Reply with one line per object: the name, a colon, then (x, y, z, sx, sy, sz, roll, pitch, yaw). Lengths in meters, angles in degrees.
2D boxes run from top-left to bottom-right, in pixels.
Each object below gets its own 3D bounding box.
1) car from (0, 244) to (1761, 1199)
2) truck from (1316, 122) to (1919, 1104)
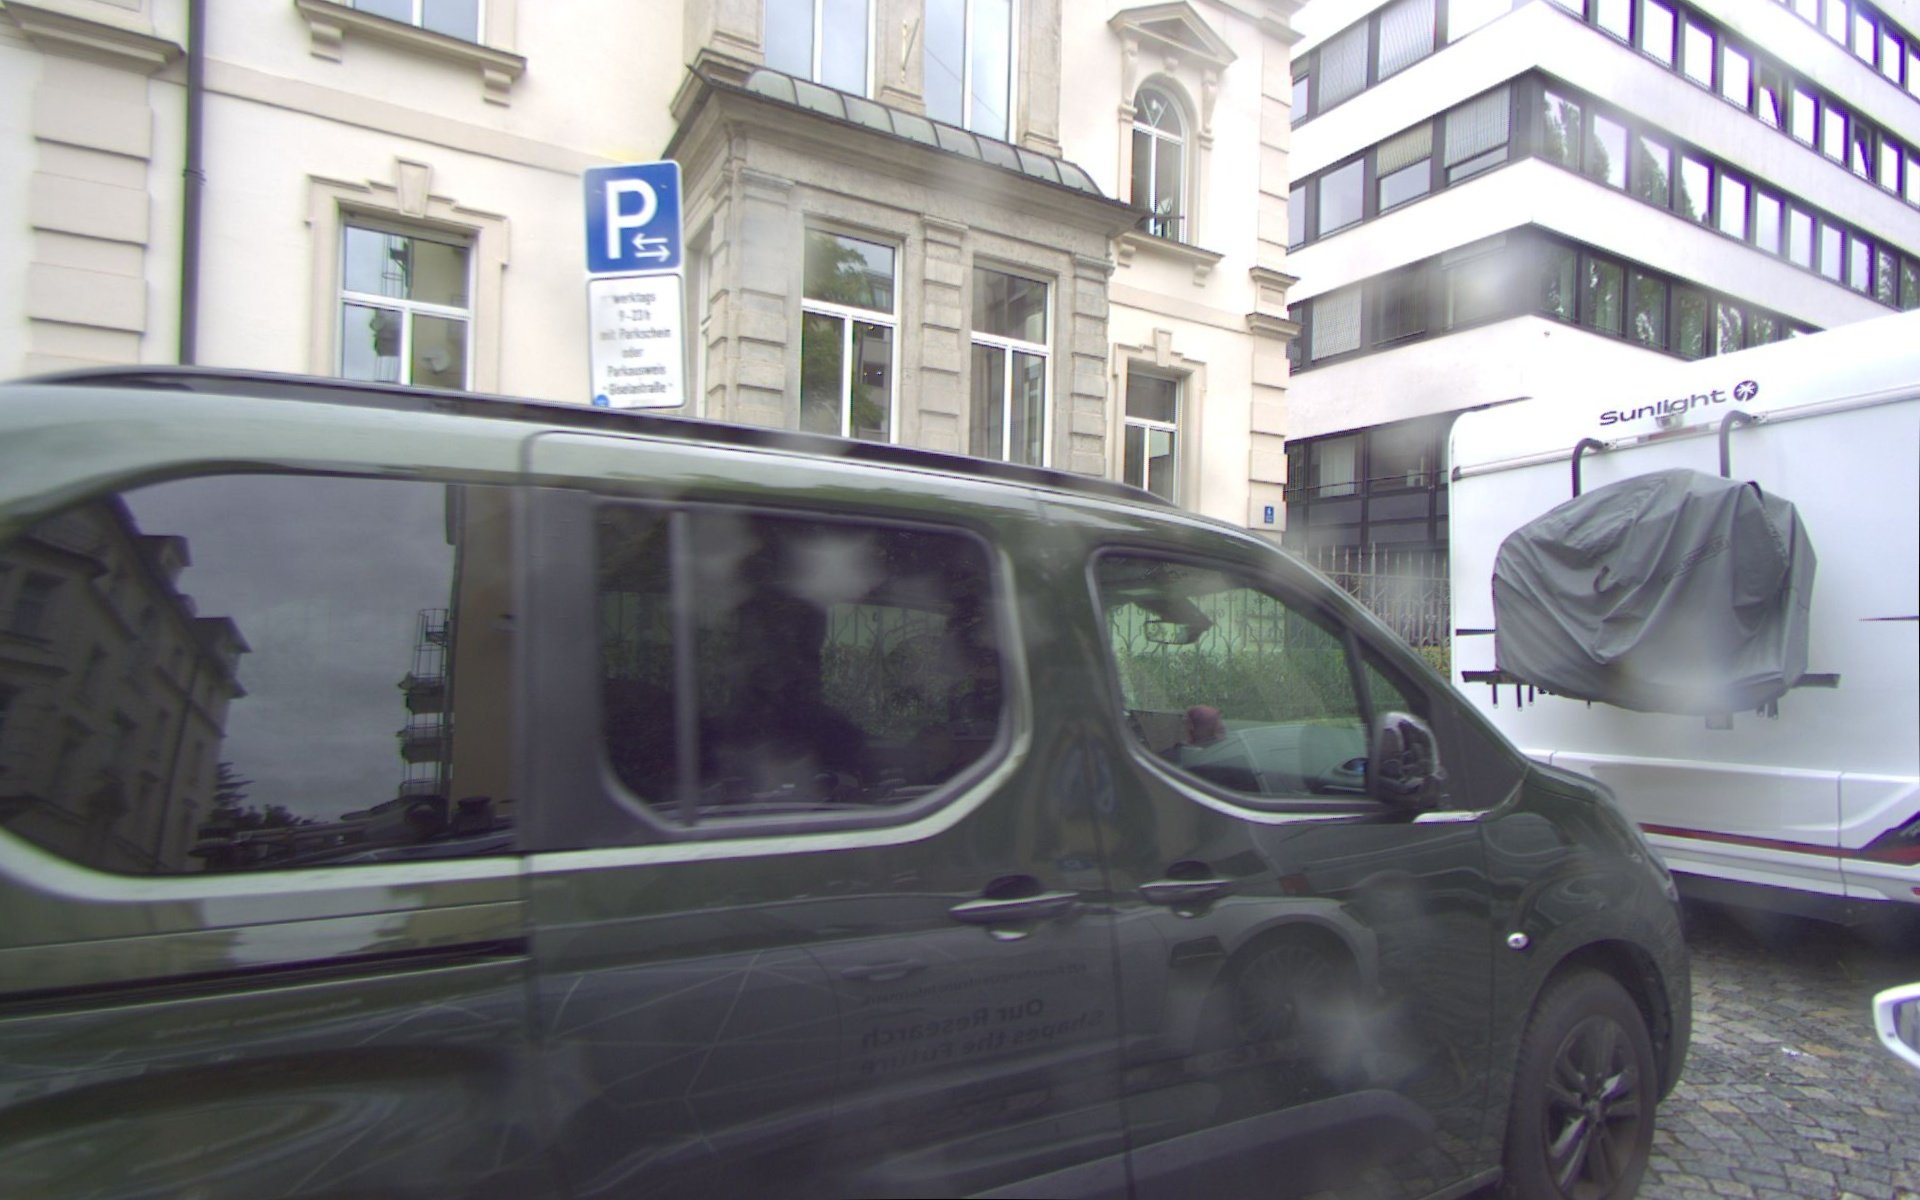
car: (-0.032, 0.598, 2.555, 4.118, 1.774, 1.885, 1, -1, -30)
truck: (5.151, 0.132, 5.710, 6.312, 3.071, 2.496, 1, -2, -32)
